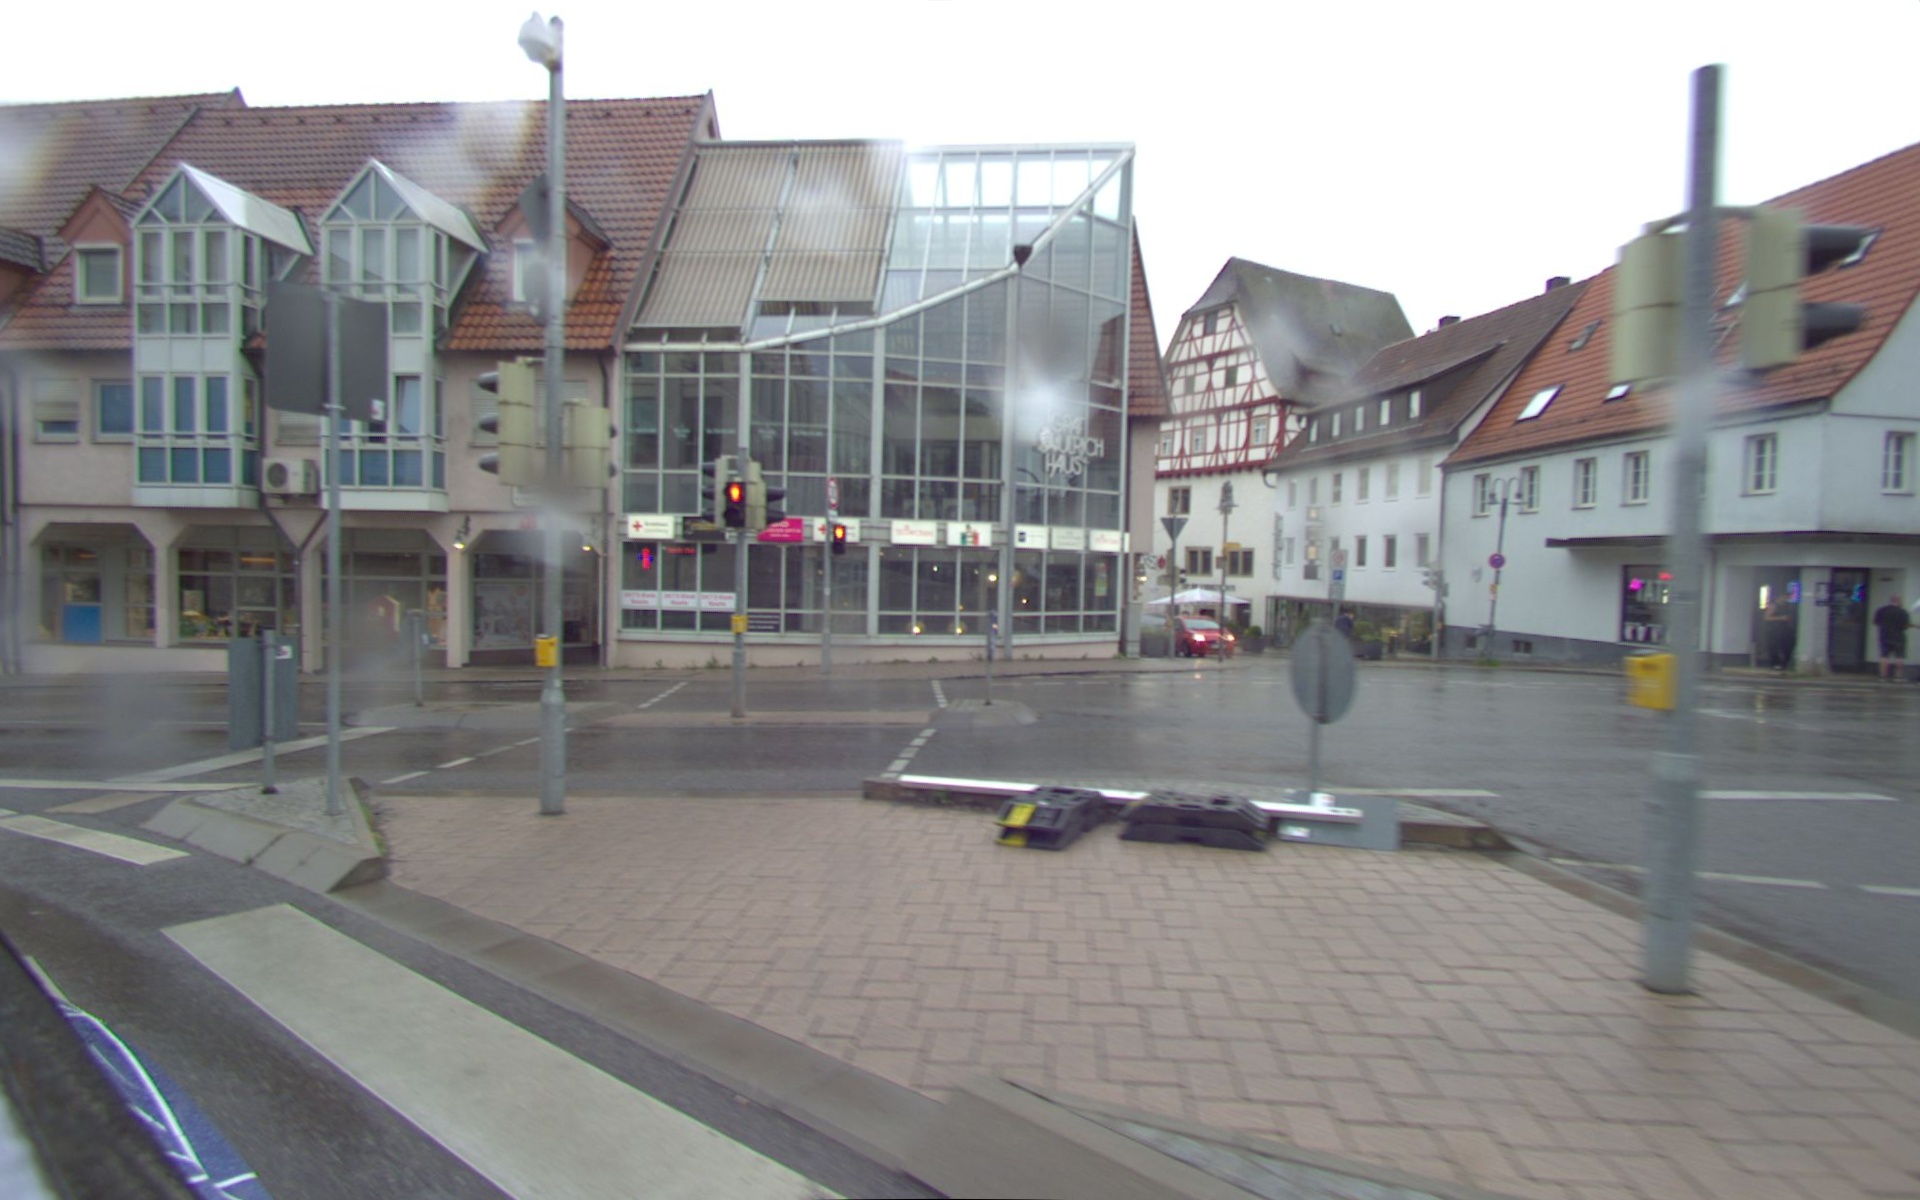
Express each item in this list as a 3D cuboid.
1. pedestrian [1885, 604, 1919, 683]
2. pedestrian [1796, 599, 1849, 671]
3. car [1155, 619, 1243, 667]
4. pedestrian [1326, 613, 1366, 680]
[{"bbox_3d":[19.464,0.870,20.623,0.624,1.571,0.595,-1,-1,-6],"label":"pedestrian"},{"bbox_3d":[19.185,0.762,22.530,0.624,1.571,0.595,-1,-1,-6],"label":"pedestrian"},{"bbox_3d":[8.242,1.444,35.210,1.717,1.518,3.690,-1,0,-8],"label":"car"},{"bbox_3d":[11.491,1.378,30.153,0.980,1.953,0.777,-2,-1,29],"label":"pedestrian"}]
